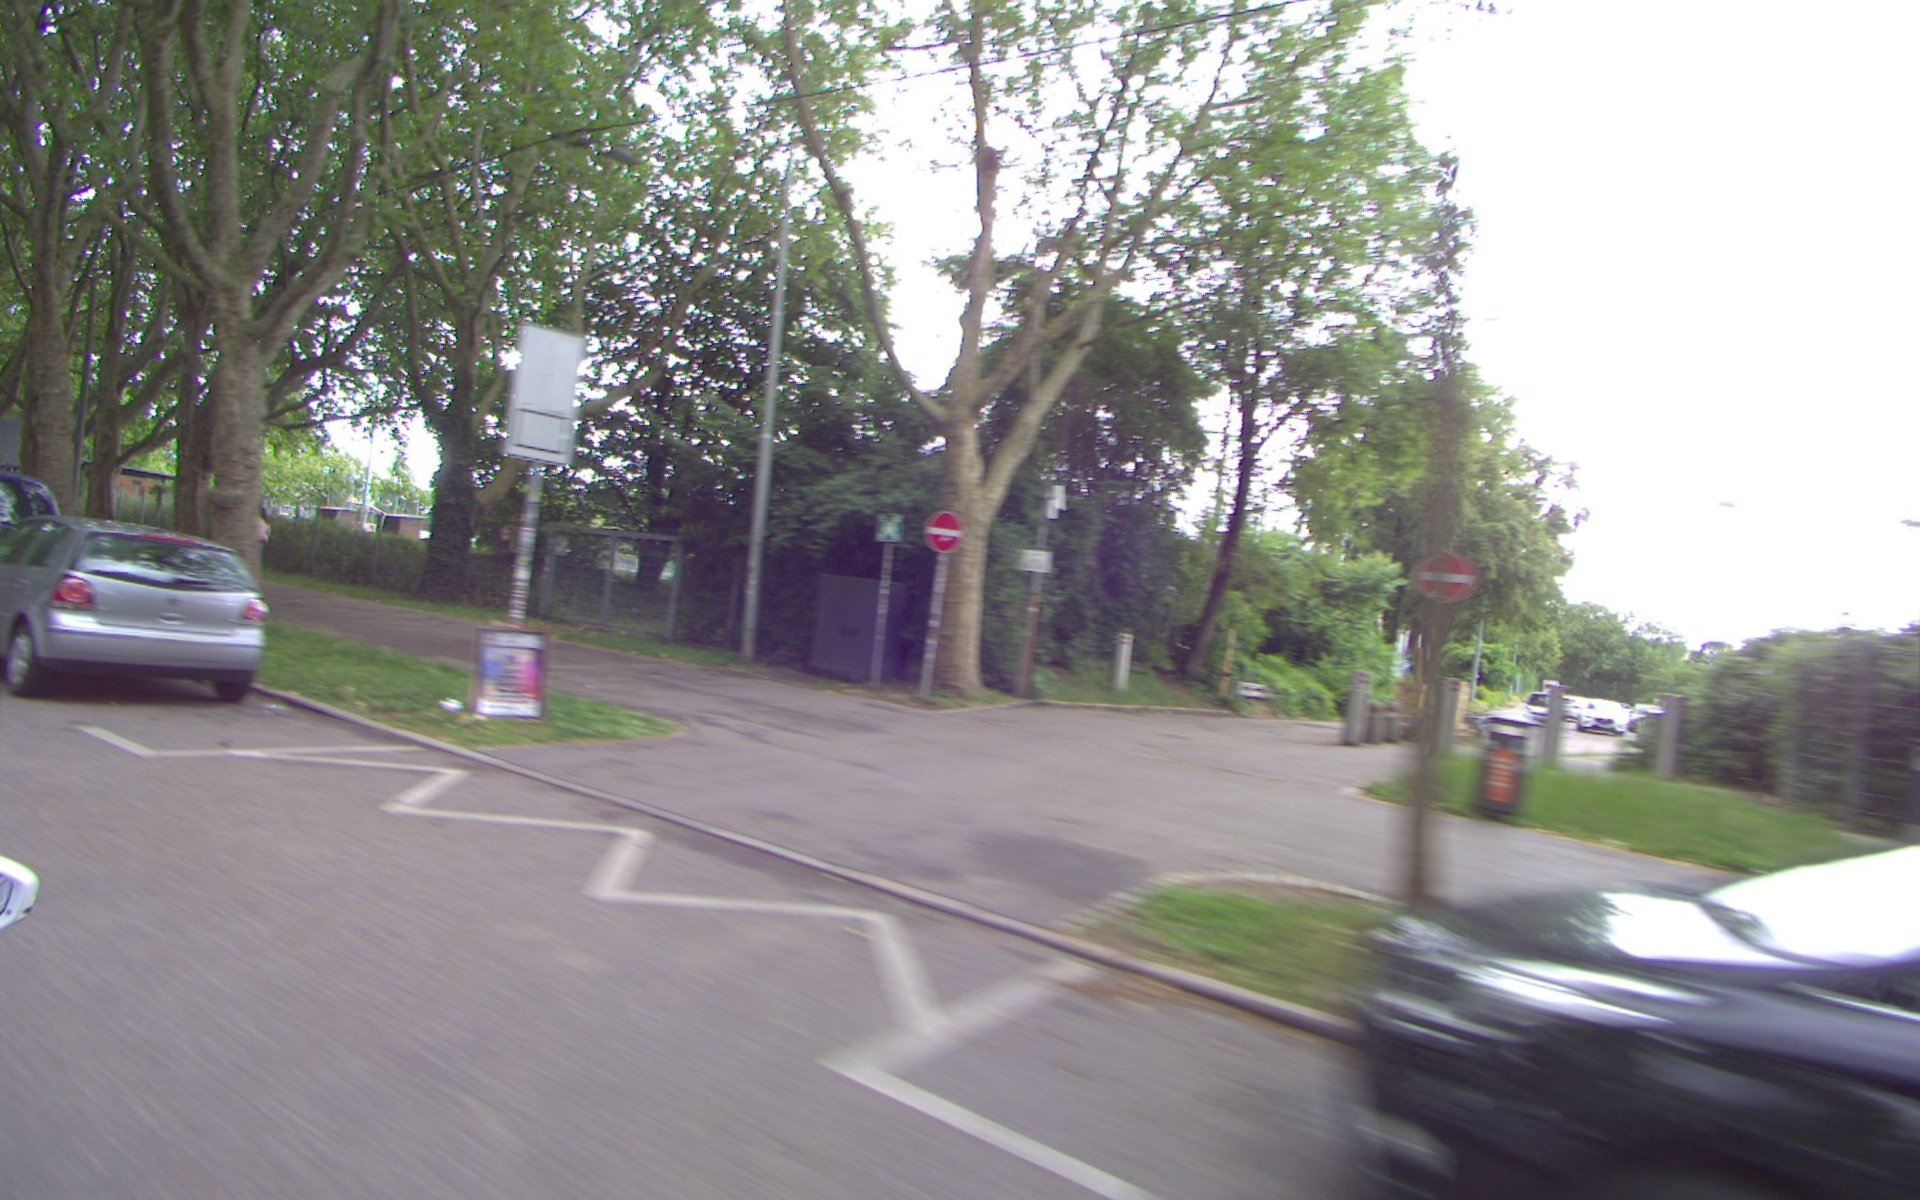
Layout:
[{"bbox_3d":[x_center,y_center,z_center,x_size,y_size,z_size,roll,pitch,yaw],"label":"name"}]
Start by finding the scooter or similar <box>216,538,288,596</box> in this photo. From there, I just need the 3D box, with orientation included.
[{"bbox_3d":[-14.720,-0.696,20.911,1.443,1.052,0.680,7,3,33],"label":"scooter or similar"}]

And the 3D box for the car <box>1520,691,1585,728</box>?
[{"bbox_3d":[28.247,5.225,47.935,1.971,1.398,3.984,7,-1,39],"label":"car"}]

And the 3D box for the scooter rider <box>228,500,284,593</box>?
[{"bbox_3d":[-14.587,-1.100,20.841,0.578,1.824,0.676,7,2,32],"label":"scooter rider"}]

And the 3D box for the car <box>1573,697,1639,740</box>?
[{"bbox_3d":[29.785,5.441,46.348,1.971,1.621,3.984,7,-1,39],"label":"car"}]

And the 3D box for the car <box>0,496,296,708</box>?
[{"bbox_3d":[-8.024,-0.079,9.303,3.882,1.478,1.622,7,-3,34],"label":"car"}]

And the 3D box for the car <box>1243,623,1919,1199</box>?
[{"bbox_3d":[3.112,1.201,2.158,4.393,1.620,1.834,7,-3,31],"label":"car"}]

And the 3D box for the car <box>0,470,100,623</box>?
[{"bbox_3d":[-13.807,-0.953,13.285,4.367,1.803,1.849,8,-2,24],"label":"car"}]
